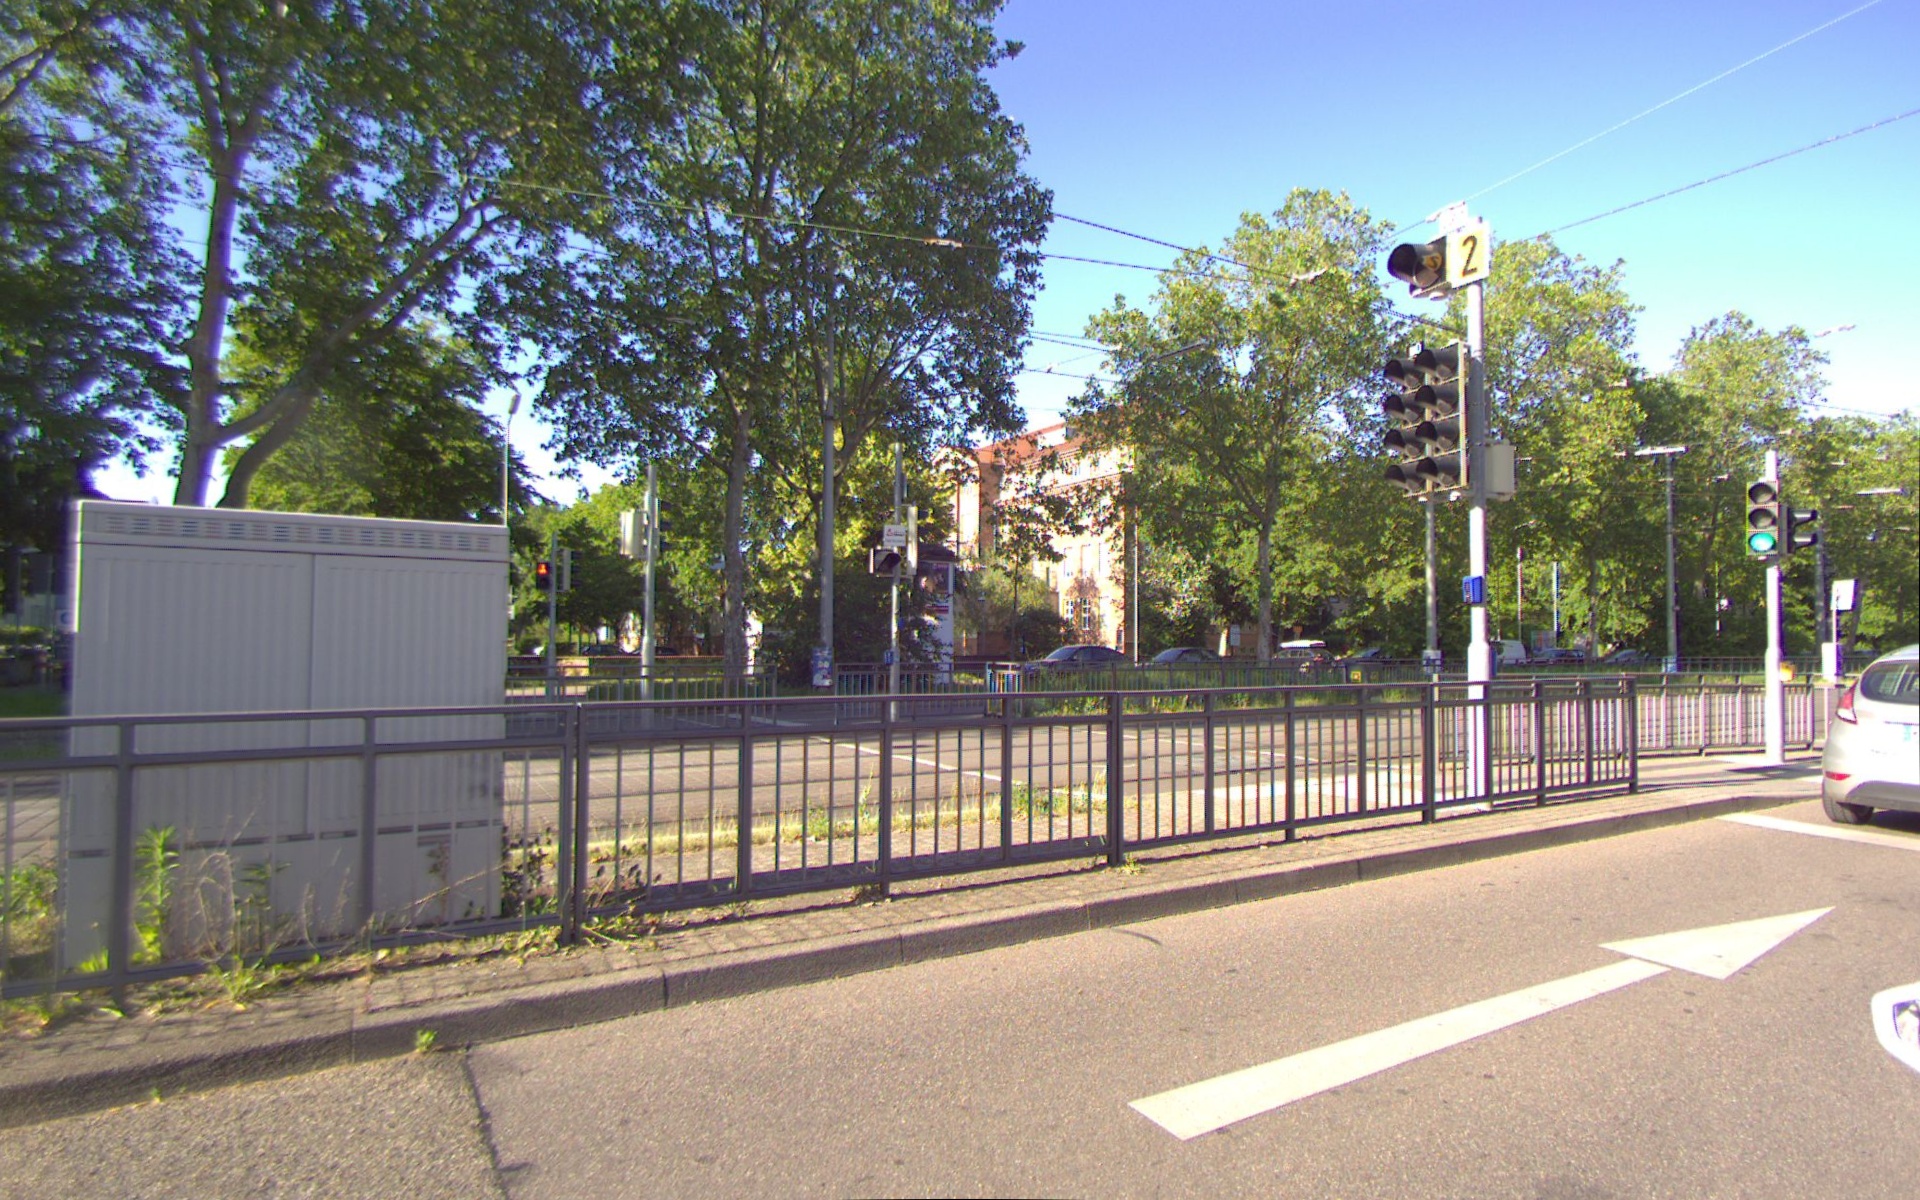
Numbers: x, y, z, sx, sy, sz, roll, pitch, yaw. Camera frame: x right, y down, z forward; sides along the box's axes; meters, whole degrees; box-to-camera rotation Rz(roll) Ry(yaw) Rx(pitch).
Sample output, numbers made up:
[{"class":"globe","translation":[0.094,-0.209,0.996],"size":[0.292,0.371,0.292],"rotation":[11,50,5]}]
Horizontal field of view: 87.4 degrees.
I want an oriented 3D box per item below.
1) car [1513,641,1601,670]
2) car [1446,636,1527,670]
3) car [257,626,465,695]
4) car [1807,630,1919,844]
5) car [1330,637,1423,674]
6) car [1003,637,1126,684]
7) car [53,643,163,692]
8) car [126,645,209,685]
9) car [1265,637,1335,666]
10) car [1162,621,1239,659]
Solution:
[{"class":"car","translation":[30.715,2.861,51.622],"size":[4.796,1.366,1.926],"rotation":[3,-2,-32]},{"class":"car","translation":[25.474,2.534,48.558],"size":[4.099,1.529,1.660],"rotation":[2,-2,-32]},{"class":"car","translation":[-14.176,1.403,23.970],"size":[4.099,1.529,1.660],"rotation":[2,-2,-32]},{"class":"car","translation":[8.418,0.995,7.877],"size":[3.846,1.486,1.601],"rotation":[1,-2,-32]},{"class":"car","translation":[18.150,2.397,43.738],"size":[4.099,1.529,1.661],"rotation":[2,-2,-32]},{"class":"car","translation":[3.635,2.059,34.746],"size":[4.099,1.529,1.660],"rotation":[1,-2,-32]},{"class":"car","translation":[-27.697,2.145,32.796],"size":[1.976,1.437,3.969],"rotation":[1,-2,-29]},{"class":"car","translation":[-31.630,2.557,40.220],"size":[1.976,1.437,3.969],"rotation":[1,-2,-29]},{"class":"car","translation":[19.092,2.879,56.575],"size":[1.375,1.514,3.974],"rotation":[1,-2,-26]},{"class":"car","translation":[13.376,2.240,55.816],"size":[3.953,2.040,1.984],"rotation":[1,-2,-30]}]
